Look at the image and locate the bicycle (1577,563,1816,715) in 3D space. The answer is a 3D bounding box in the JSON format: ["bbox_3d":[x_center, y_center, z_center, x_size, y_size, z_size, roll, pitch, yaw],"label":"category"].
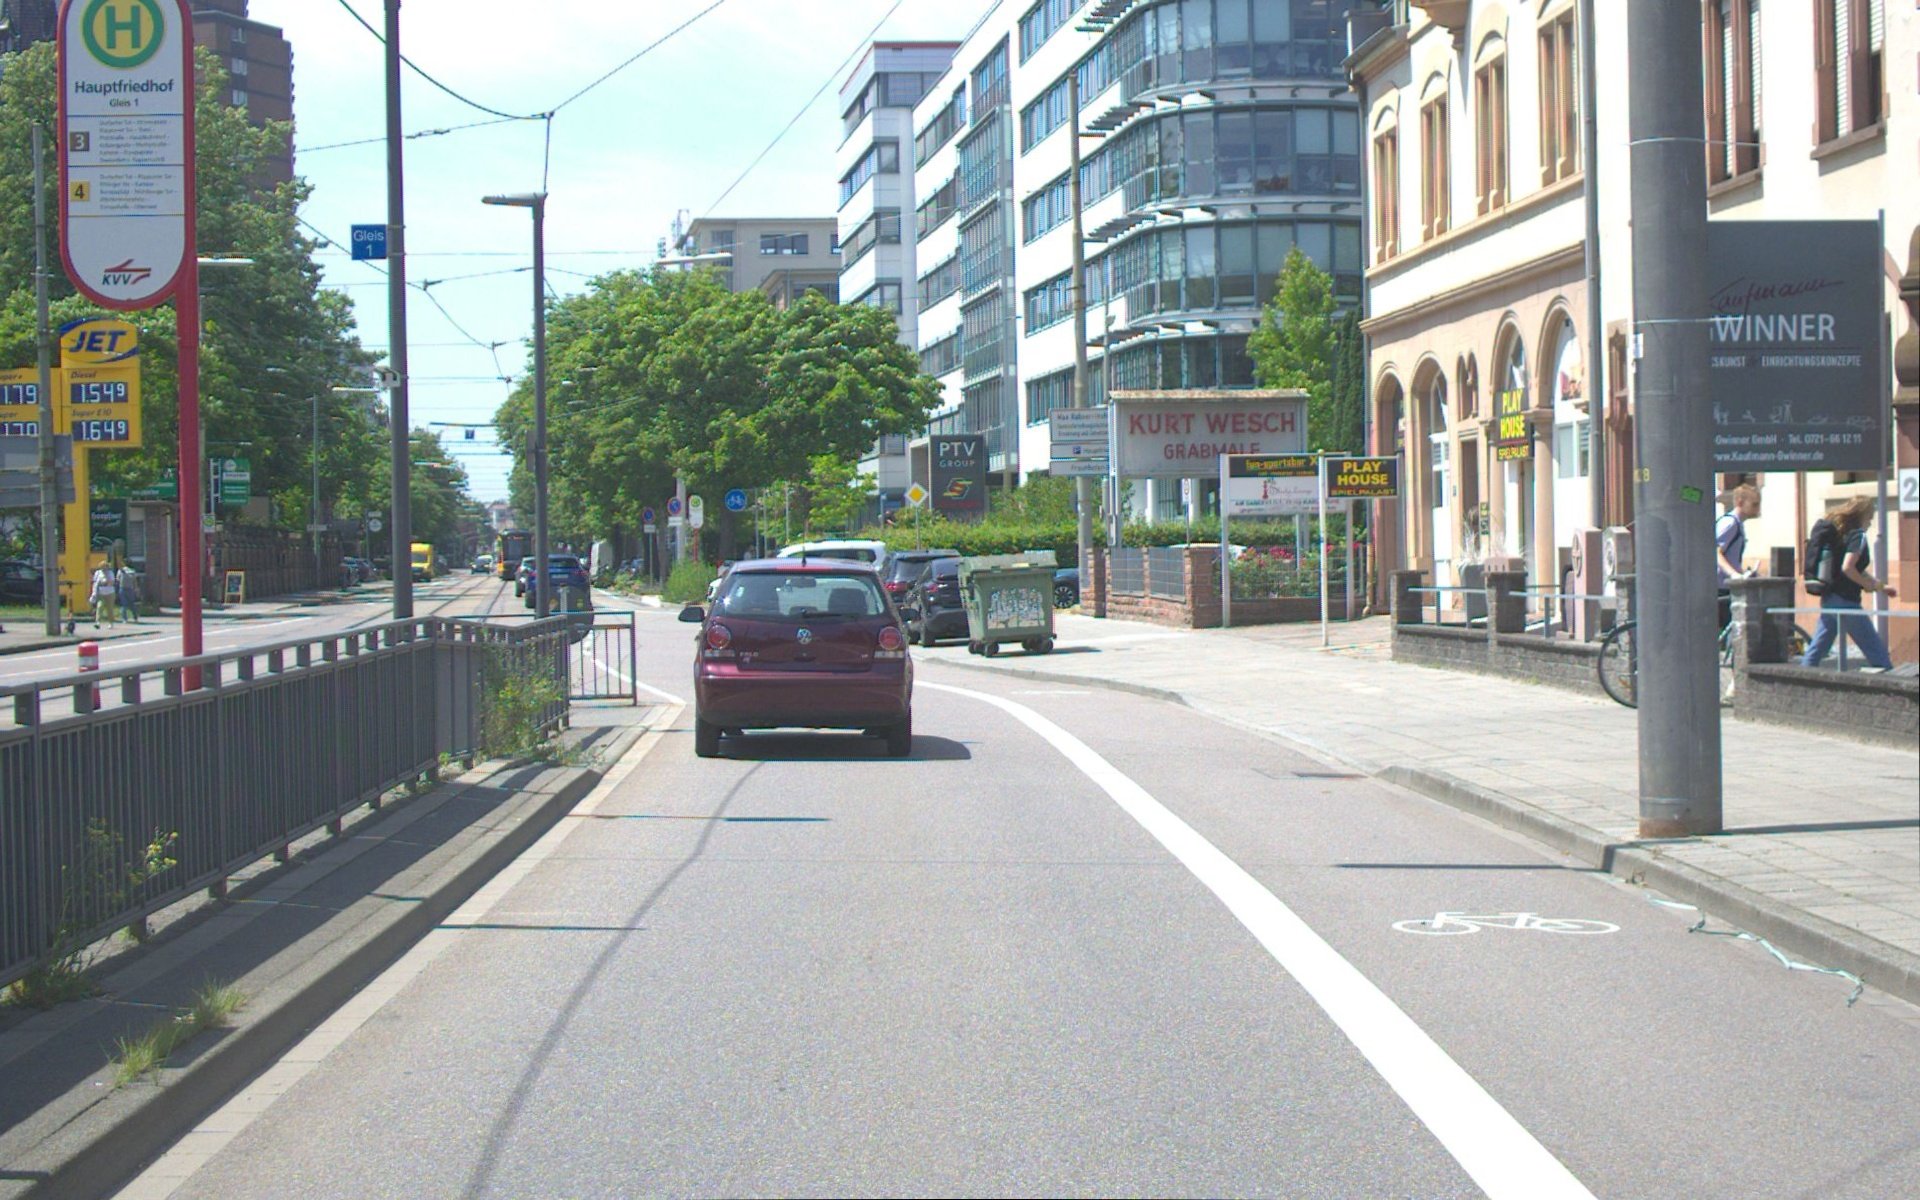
[{"bbox_3d":[5.980,0.310,27.981,1.802,1.123,0.590,-3,0,7],"label":"bicycle"}]

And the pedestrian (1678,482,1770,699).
[{"bbox_3d":[6.294,-0.079,28.340,0.688,1.766,0.503,-1,1,8],"label":"pedestrian"}]

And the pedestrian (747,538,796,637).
[{"bbox_3d":[-3.754,-0.249,68.542,0.780,1.953,0.590,-1,1,-22],"label":"pedestrian"}]

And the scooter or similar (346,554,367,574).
[{"bbox_3d":[-35.305,-2.085,200.968,1.088,1.151,0.527,0,1,-28],"label":"scooter or similar"}]

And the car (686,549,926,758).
[{"bbox_3d":[-1.126,0.357,26.641,1.619,1.481,4.000,1,1,1],"label":"car"}]

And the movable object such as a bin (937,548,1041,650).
[{"bbox_3d":[0.435,-0.019,52.031,1.323,1.450,1.058,-3,1,-10],"label":"movable object such as a bin"}]

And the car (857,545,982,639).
[{"bbox_3d":[-0.835,-0.188,66.950,1.924,1.687,5.083,-3,1,-6],"label":"car"}]

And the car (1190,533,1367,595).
[{"bbox_3d":[7.922,-0.901,85.661,4.148,1.454,1.818,-1,1,-3],"label":"car"}]

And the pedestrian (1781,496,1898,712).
[{"bbox_3d":[6.950,0.029,27.186,0.824,1.685,0.589,-1,1,8],"label":"pedestrian"}]

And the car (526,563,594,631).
[{"bbox_3d":[-12.254,-0.102,105.148,1.993,2.007,4.001,0,1,-8],"label":"car"}]

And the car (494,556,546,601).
[{"bbox_3d":[-17.503,-0.878,136.931,1.993,1.733,4.001,-1,1,-7],"label":"car"}]

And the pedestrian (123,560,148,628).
[{"bbox_3d":[-21.858,-0.164,91.155,0.580,1.769,0.700,0,1,-10],"label":"pedestrian"}]

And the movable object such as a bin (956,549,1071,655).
[{"bbox_3d":[0.771,0.021,49.887,1.391,1.450,1.139,-3,1,-10],"label":"movable object such as a bin"}]

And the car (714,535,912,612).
[{"bbox_3d":[-3.553,-0.643,82.668,4.537,1.793,2.001,-1,1,-8],"label":"car"}]

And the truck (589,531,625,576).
[{"bbox_3d":[-21.176,-2.785,206.087,1.993,2.653,4.876,0,1,-7],"label":"truck"}]

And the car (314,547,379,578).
[{"bbox_3d":[-40.578,-2.490,227.499,3.986,2.007,2.000,-1,1,-3],"label":"car"}]

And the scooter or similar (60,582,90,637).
[{"bbox_3d":[-19.656,0.206,76.371,0.518,1.196,1.377,0,1,-10],"label":"scooter or similar"}]

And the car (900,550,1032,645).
[{"bbox_3d":[0.061,-0.059,61.173,1.772,1.543,4.468,-3,1,-7],"label":"car"}]

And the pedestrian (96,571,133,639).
[{"bbox_3d":[-21.209,0.131,86.227,0.625,1.685,0.722,-1,1,11],"label":"pedestrian"}]
